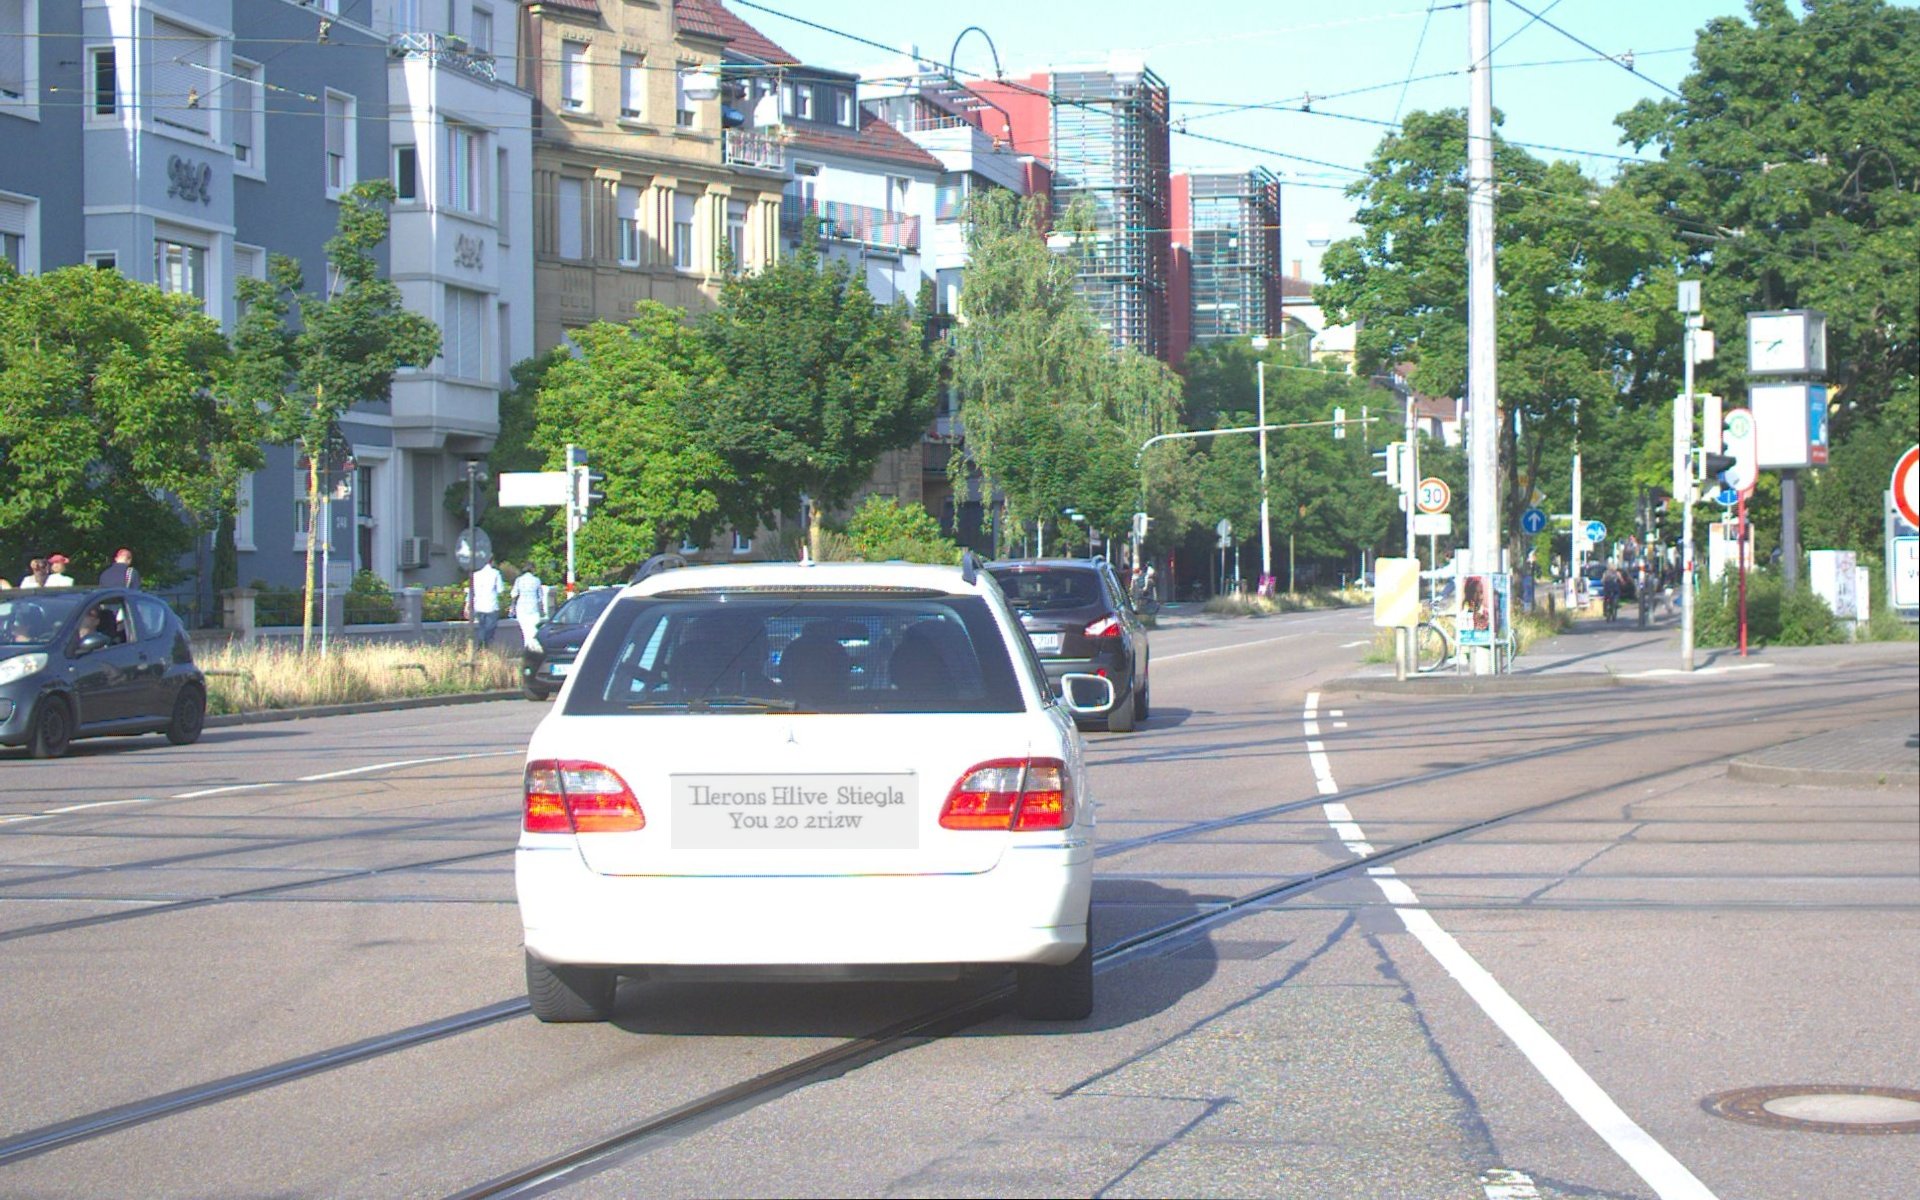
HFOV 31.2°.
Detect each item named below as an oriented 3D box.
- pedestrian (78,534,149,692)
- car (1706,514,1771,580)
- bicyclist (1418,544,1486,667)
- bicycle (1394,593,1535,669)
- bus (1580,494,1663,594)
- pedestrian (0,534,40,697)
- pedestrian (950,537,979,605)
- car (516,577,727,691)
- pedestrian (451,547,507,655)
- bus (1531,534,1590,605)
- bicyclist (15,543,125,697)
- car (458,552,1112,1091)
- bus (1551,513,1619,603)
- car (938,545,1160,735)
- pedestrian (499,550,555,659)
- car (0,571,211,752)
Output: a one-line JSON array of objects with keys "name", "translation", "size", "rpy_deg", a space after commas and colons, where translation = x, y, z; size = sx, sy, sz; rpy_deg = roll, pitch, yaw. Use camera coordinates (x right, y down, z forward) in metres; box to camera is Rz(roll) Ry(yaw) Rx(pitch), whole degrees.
[{"name": "pedestrian", "translation": [-10.121, 0.151, 41.109], "size": [0.585, 1.874, 0.626], "rpy_deg": [0, 1, 13]}, {"name": "car", "translation": [22.402, -1.503, 98.863], "size": [1.747, 1.867, 3.997], "rpy_deg": [0, 0, 14]}, {"name": "bicyclist", "translation": [6.923, 0.074, 48.406], "size": [0.899, 1.693, 0.732], "rpy_deg": [-2, 0, 8]}, {"name": "bicycle", "translation": [7.093, 0.437, 48.388], "size": [1.914, 0.991, 0.726], "rpy_deg": [-2, 0, 8]}, {"name": "bus", "translation": [16.779, -1.400, 87.331], "size": [1.798, 2.405, 3.998], "rpy_deg": [2, 0, 8]}, {"name": "pedestrian", "translation": [-11.006, 0.172, 39.328], "size": [0.674, 1.842, 0.649], "rpy_deg": [0, 1, 15]}, {"name": "pedestrian", "translation": [0.113, -0.759, 89.565], "size": [0.638, 1.745, 0.607], "rpy_deg": [0, 0, 10]}, {"name": "car", "translation": [-4.346, 0.425, 44.732], "size": [1.689, 1.415, 3.998], "rpy_deg": [0, 0, 10]}, {"name": "pedestrian", "translation": [-7.800, 0.012, 55.768], "size": [0.638, 1.745, 0.911], "rpy_deg": [0, 0, 10]}, {"name": "bus", "translation": [20.618, -1.036, 118.180], "size": [1.798, 2.325, 3.999], "rpy_deg": [2, 0, 8]}, {"name": "bicyclist", "translation": [-9.802, 0.210, 37.897], "size": [0.760, 1.662, 1.167], "rpy_deg": [0, 1, 8]}, {"name": "car", "translation": [-0.468, 0.610, 11.728], "size": [1.835, 1.496, 3.815], "rpy_deg": [1, 1, 1]}, {"name": "bus", "translation": [18.664, -1.235, 102.761], "size": [1.798, 2.546, 3.998], "rpy_deg": [2, 0, 9]}, {"name": "car", "translation": [0.875, 0.324, 31.538], "size": [1.642, 1.595, 3.814], "rpy_deg": [1, 1, 7]}, {"name": "pedestrian", "translation": [-6.997, 0.060, 55.563], "size": [0.638, 1.745, 0.911], "rpy_deg": [0, 0, 10]}, {"name": "car", "translation": [-7.975, 0.484, 29.522], "size": [1.635, 1.428, 3.626], "rpy_deg": [0, 1, 13]}]
